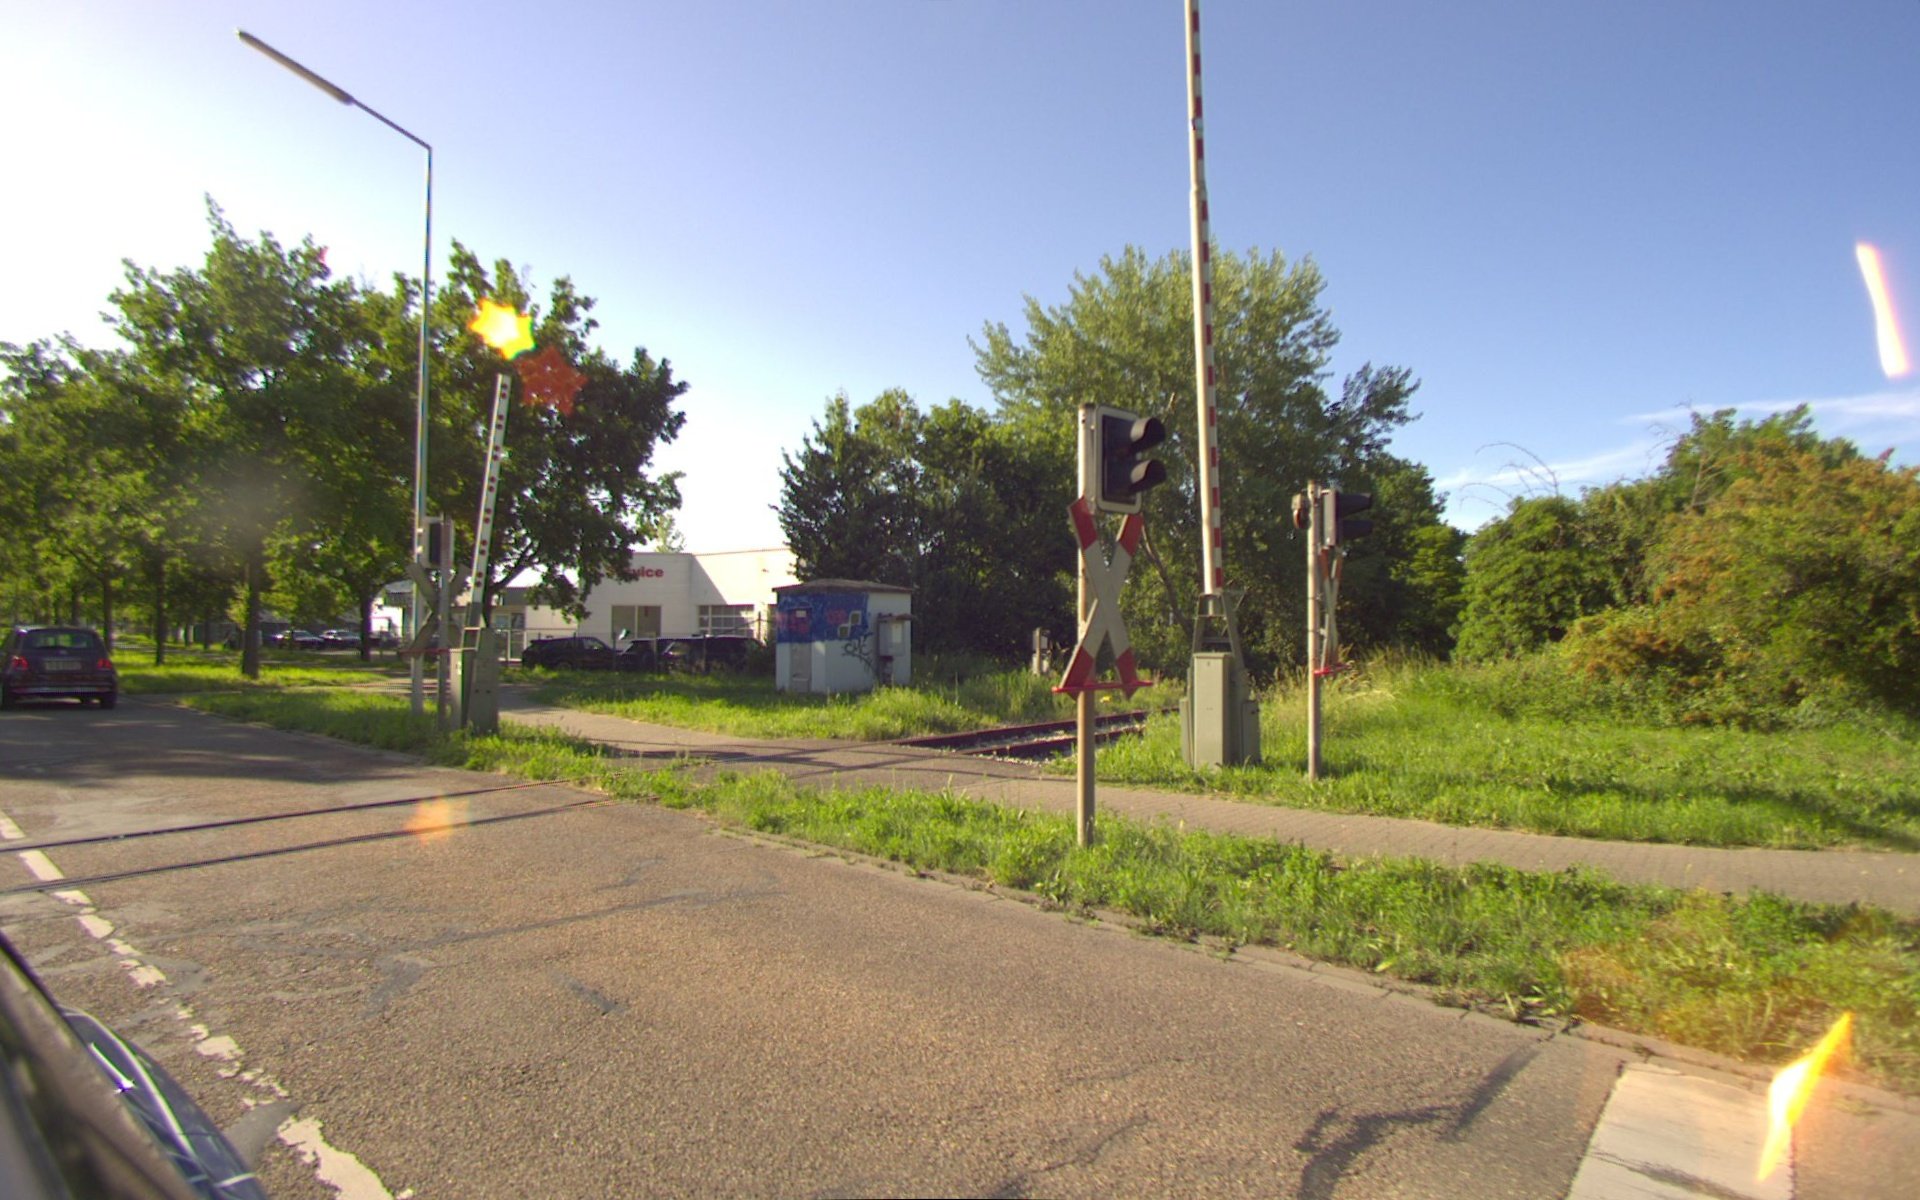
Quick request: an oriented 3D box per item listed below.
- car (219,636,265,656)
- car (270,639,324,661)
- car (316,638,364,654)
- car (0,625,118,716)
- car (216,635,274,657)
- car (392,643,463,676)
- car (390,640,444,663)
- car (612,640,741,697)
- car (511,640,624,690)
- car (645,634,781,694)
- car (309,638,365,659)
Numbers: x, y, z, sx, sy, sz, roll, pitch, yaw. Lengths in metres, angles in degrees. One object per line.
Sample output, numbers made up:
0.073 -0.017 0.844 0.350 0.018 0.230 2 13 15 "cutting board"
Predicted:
-52.714 3.364 74.339 2.531 1.481 1.430 1 -3 -28 "car"
-55.480 4.155 84.726 4.481 1.688 1.980 -1 -1 30 "car"
-63.391 4.689 103.427 3.939 1.530 1.753 0 -1 -43 "car"
-17.062 1.259 18.804 3.999 1.516 1.548 -2 -4 42 "car"
-61.974 4.000 87.766 3.938 1.755 2.003 0 -1 -42 "car"
-29.178 3.198 55.398 5.016 1.610 1.971 -2 -1 44 "car"
-42.132 3.987 78.662 1.969 1.673 5.267 -1 -3 -7 "car"
-10.257 2.423 36.863 1.998 1.815 4.149 -2 -1 39 "car"
-16.195 2.645 41.896 1.997 1.815 3.950 -2 -1 37 "car"
-8.402 2.112 34.679 1.998 1.815 4.149 -2 -1 39 "car"
-53.532 4.126 86.947 5.240 1.730 1.979 -1 -1 31 "car"
